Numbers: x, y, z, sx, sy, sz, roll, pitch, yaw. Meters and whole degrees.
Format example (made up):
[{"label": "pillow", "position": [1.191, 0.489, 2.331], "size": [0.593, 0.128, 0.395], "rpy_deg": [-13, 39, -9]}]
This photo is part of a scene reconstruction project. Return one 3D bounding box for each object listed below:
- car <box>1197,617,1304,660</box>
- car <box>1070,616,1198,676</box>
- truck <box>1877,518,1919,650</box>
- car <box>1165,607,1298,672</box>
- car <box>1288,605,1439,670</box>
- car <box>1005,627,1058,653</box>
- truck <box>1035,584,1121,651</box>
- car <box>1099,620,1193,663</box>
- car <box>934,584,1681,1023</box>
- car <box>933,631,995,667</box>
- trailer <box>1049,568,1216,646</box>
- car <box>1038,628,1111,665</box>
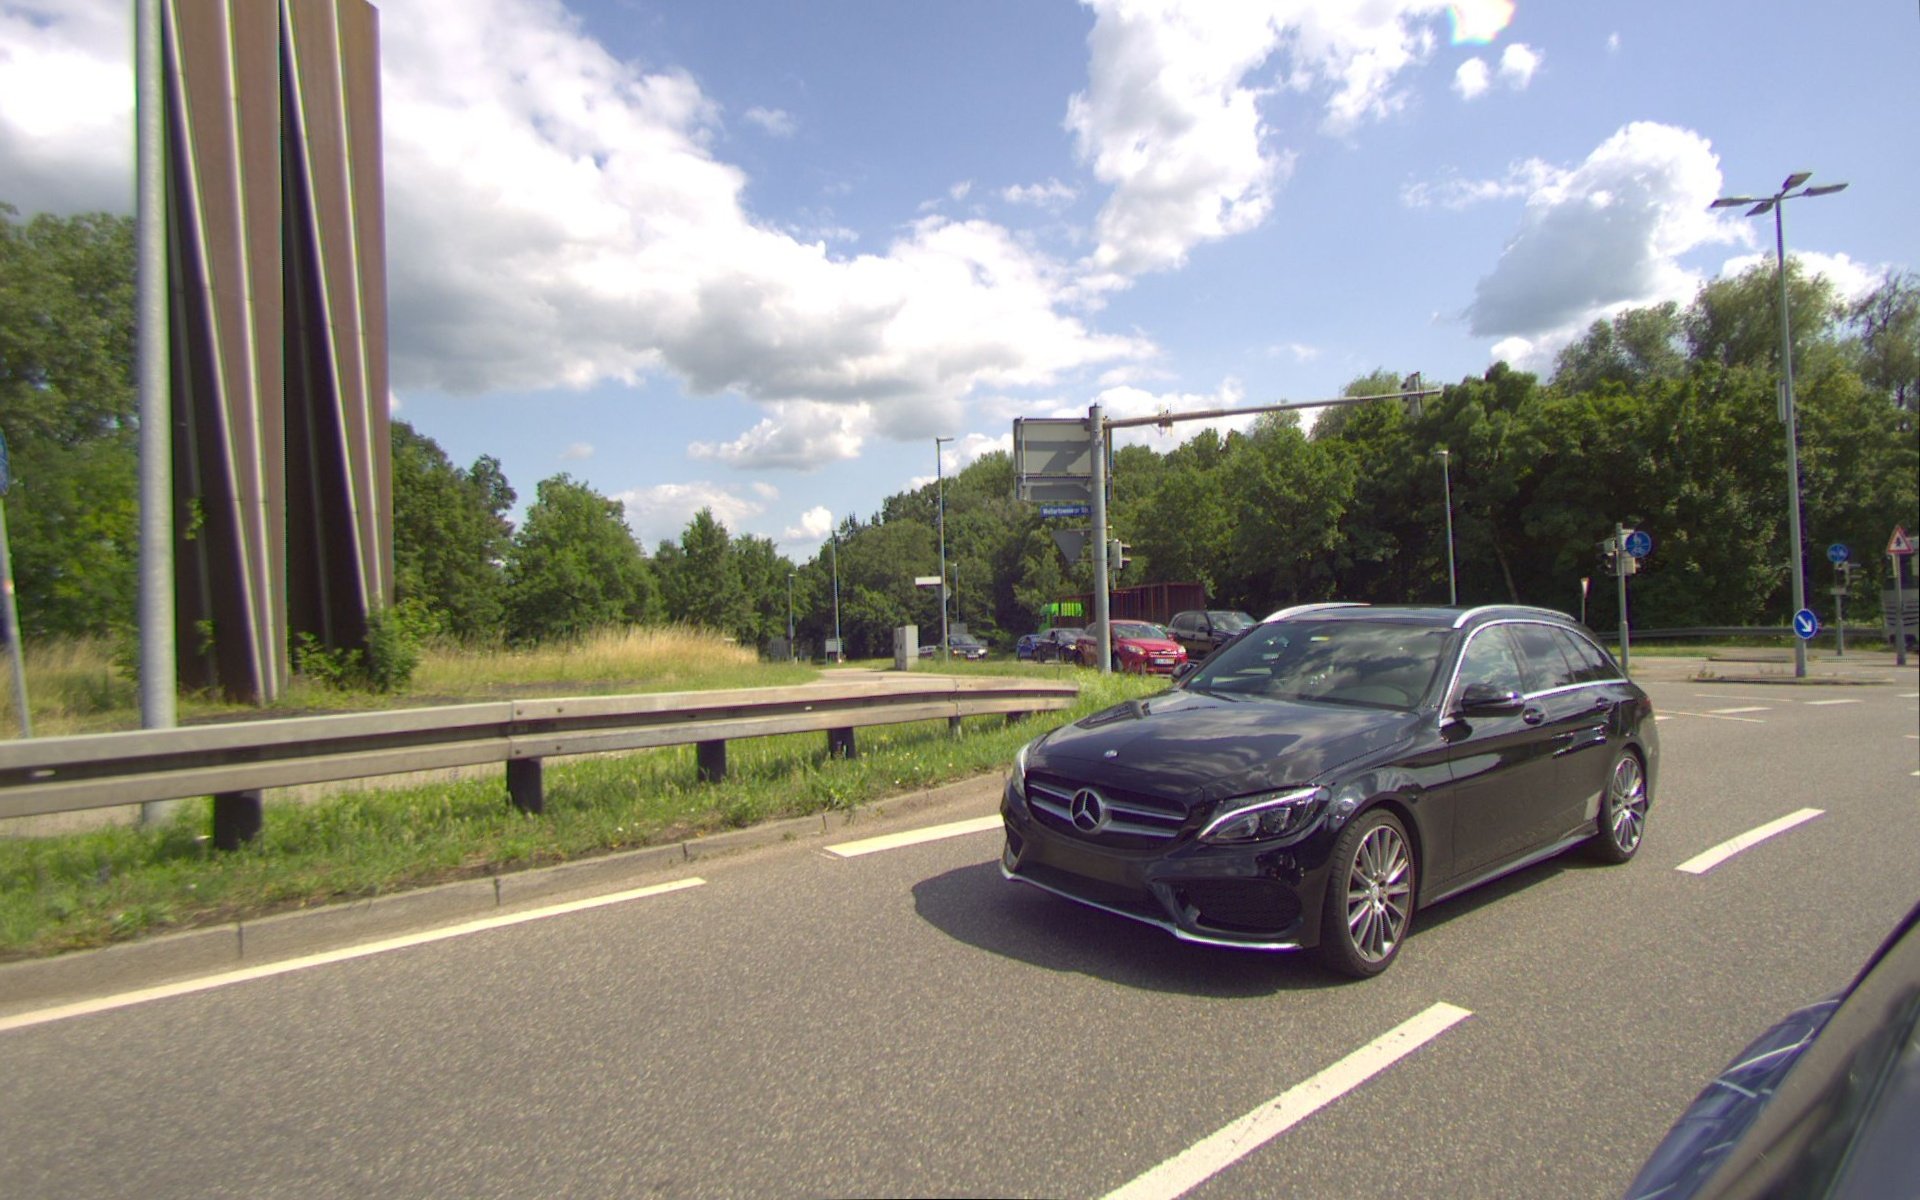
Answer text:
[{"label": "car", "position": [10.110, 1.334, 35.572], "size": [1.612, 1.393, 4.550], "rpy_deg": [0, -2, -13]}, {"label": "car", "position": [4.337, 1.128, 25.895], "size": [1.722, 1.393, 4.222], "rpy_deg": [0, -2, -13]}, {"label": "truck", "position": [31.796, -0.520, 29.605], "size": [6.712, 3.895, 2.768], "rpy_deg": [-1, -2, 12]}, {"label": "car", "position": [7.480, 1.076, 28.345], "size": [1.799, 1.667, 4.222], "rpy_deg": [0, -2, -13]}, {"label": "car", "position": [11.353, 1.042, 28.821], "size": [1.806, 1.637, 4.301], "rpy_deg": [-1, -1, -13]}, {"label": "car", "position": [3.952, 2.220, 56.470], "size": [1.841, 1.393, 4.056], "rpy_deg": [0, -2, -13]}, {"label": "truck", "position": [7.347, 1.168, 63.773], "size": [2.818, 3.955, 5.886], "rpy_deg": [0, -3, -22]}, {"label": "car", "position": [6.335, 1.408, 34.943], "size": [1.612, 1.393, 4.222], "rpy_deg": [0, -2, -13]}, {"label": "car", "position": [2.103, 0.663, 5.430], "size": [4.291, 1.454, 1.794], "rpy_deg": [-1, 0, -39]}, {"label": "car", "position": [0.132, 2.180, 45.533], "size": [1.828, 1.483, 4.006], "rpy_deg": [-2, -2, -14]}, {"label": "trailer", "position": [9.481, 0.646, 58.569], "size": [2.592, 3.942, 13.868], "rpy_deg": [0, -3, -21]}, {"label": "car", "position": [4.588, 1.855, 41.159], "size": [1.665, 1.393, 4.222], "rpy_deg": [0, -2, -13]}]
